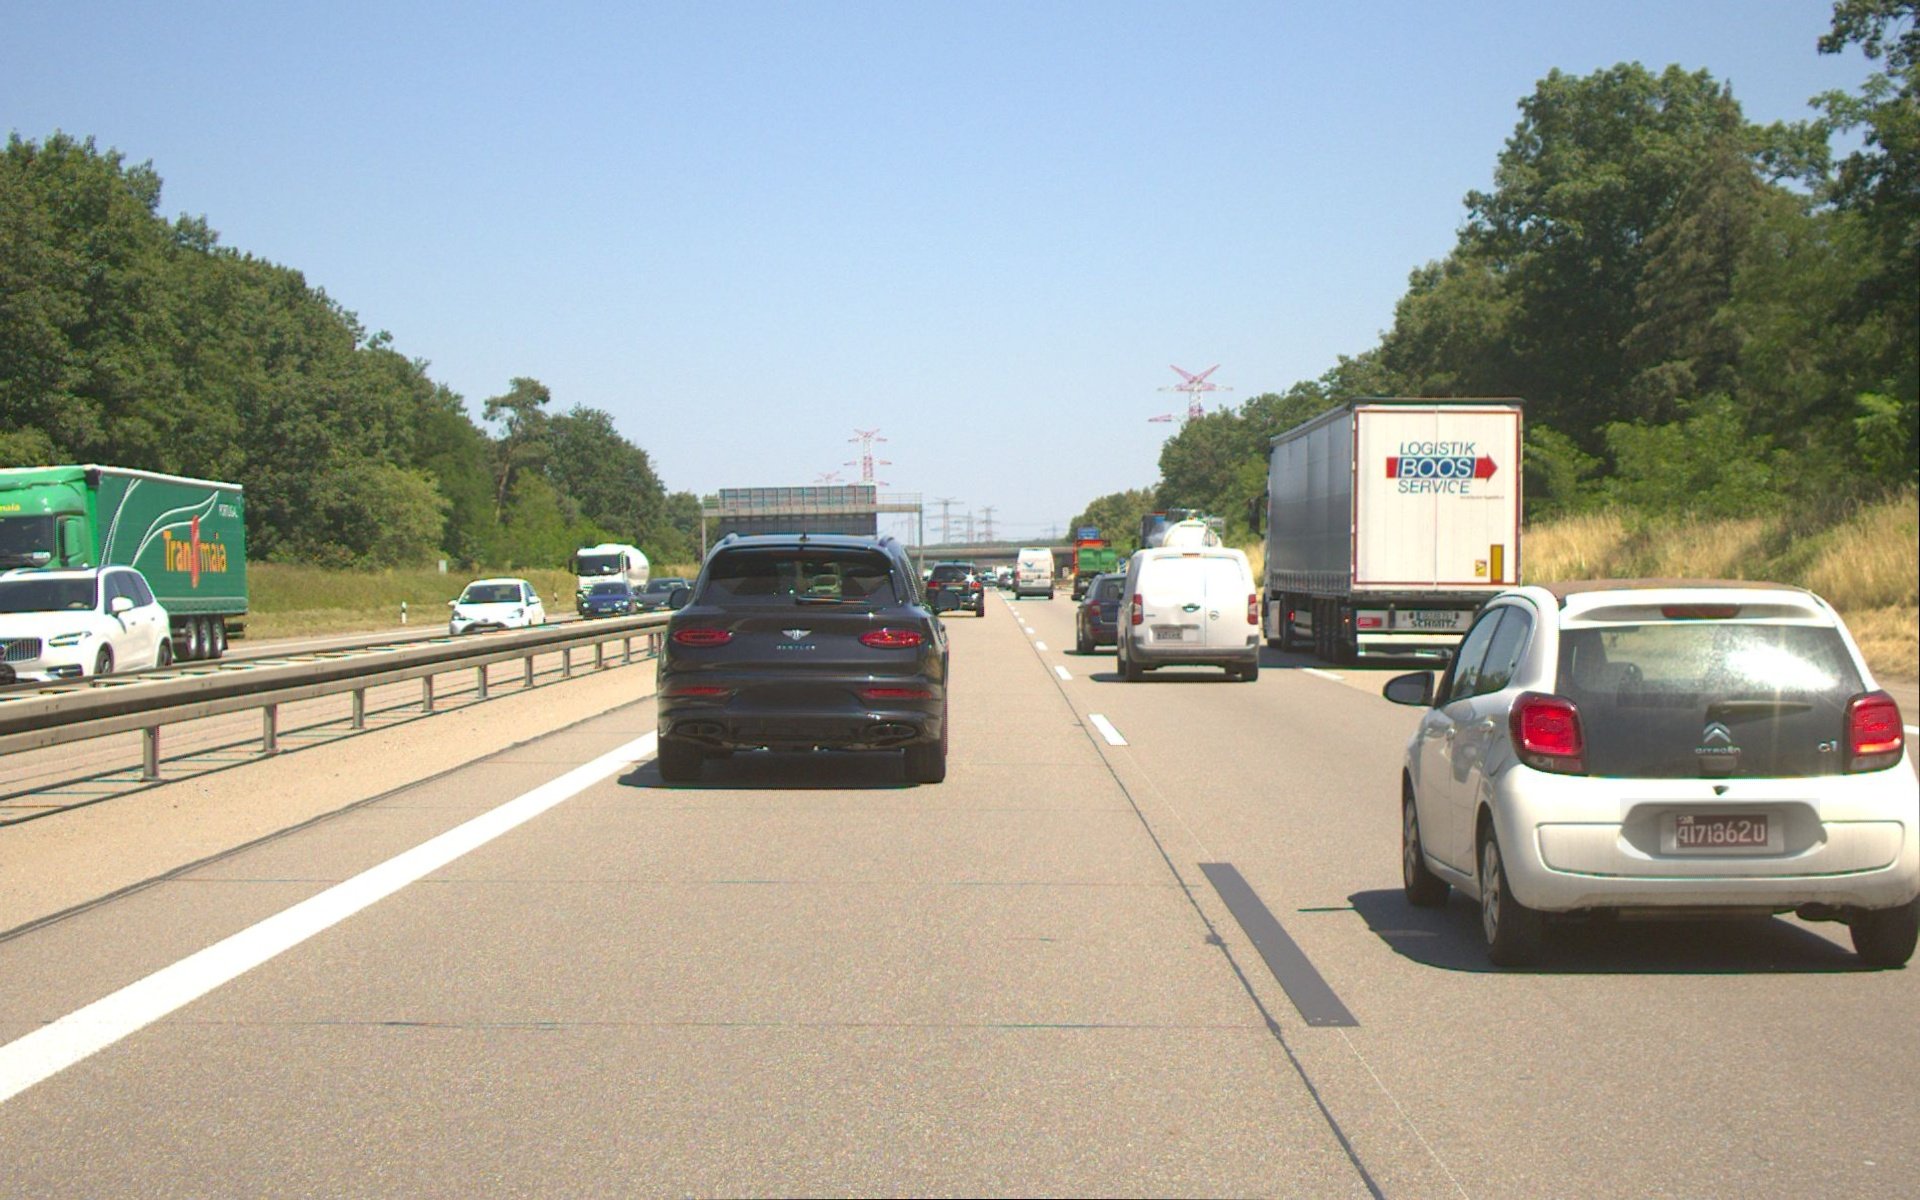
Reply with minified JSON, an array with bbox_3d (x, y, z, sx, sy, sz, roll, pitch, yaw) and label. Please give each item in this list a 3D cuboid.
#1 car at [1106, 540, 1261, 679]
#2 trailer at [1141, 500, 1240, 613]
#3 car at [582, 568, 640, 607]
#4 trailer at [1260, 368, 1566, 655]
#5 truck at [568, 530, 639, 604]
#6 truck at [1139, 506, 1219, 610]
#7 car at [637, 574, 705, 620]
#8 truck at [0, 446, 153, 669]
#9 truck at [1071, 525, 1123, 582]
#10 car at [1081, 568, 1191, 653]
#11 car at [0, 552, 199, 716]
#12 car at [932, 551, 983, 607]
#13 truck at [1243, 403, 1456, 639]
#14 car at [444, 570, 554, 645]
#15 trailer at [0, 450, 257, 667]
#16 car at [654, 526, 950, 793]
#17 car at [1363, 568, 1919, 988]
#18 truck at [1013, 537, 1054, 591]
[{"bbox_3d":[3.054,0.101,47.820,1.814,1.821,5.111,0,0,0],"label":"car"},{"bbox_3d":[8.226,-1.524,124.012,2.682,3.824,12.010,1,0,0],"label":"trailer"},{"bbox_3d":[-13.618,-0.494,134.320,1.674,1.438,5.136,-2,1,0],"label":"car"},{"bbox_3d":[7.301,-1.356,57.752,3.286,4.205,13.565,1,0,0],"label":"trailer"},{"bbox_3d":[-17.484,-1.622,168.975,2.682,3.422,6.145,-2,1,0],"label":"truck"},{"bbox_3d":[8.227,-1.561,129.700,2.682,3.824,4.444,1,0,0],"label":"truck"},{"bbox_3d":[-9.468,-0.120,112.906,1.709,1.406,5.083,-3,0,0],"label":"car"},{"bbox_3d":[-18.241,-0.803,68.234,2.700,4.147,6.296,-3,1,0],"label":"truck"},{"bbox_3d":[9.131,-3.086,229.766,2.989,3.716,10.090,1,0,0],"label":"truck"},{"bbox_3d":[3.131,0.171,61.824,1.774,1.467,3.872,0,0,0],"label":"car"},{"bbox_3d":[-10.836,0.371,41.464,1.954,1.786,5.562,-3,1,0],"label":"car"},{"bbox_3d":[-0.073,-0.695,111.420,1.626,1.749,3.805,0,1,0],"label":"car"},{"bbox_3d":[7.287,-1.444,65.103,3.286,4.205,6.008,1,0,0],"label":"truck"},{"bbox_3d":[-9.950,0.137,74.501,1.655,1.495,4.600,-3,1,0],"label":"car"},{"bbox_3d":[-18.218,-0.880,74.658,2.705,4.147,14.338,-3,1,0],"label":"trailer"},{"bbox_3d":[-1.064,0.333,25.578,1.940,1.746,5.814,0,1,0],"label":"car"},{"bbox_3d":[2.773,0.624,14.412,1.708,1.490,4.024,0,1,0],"label":"car"},{"bbox_3d":[3.990,-1.962,187.949,2.060,2.904,7.003,0,0,0],"label":"truck"}]
